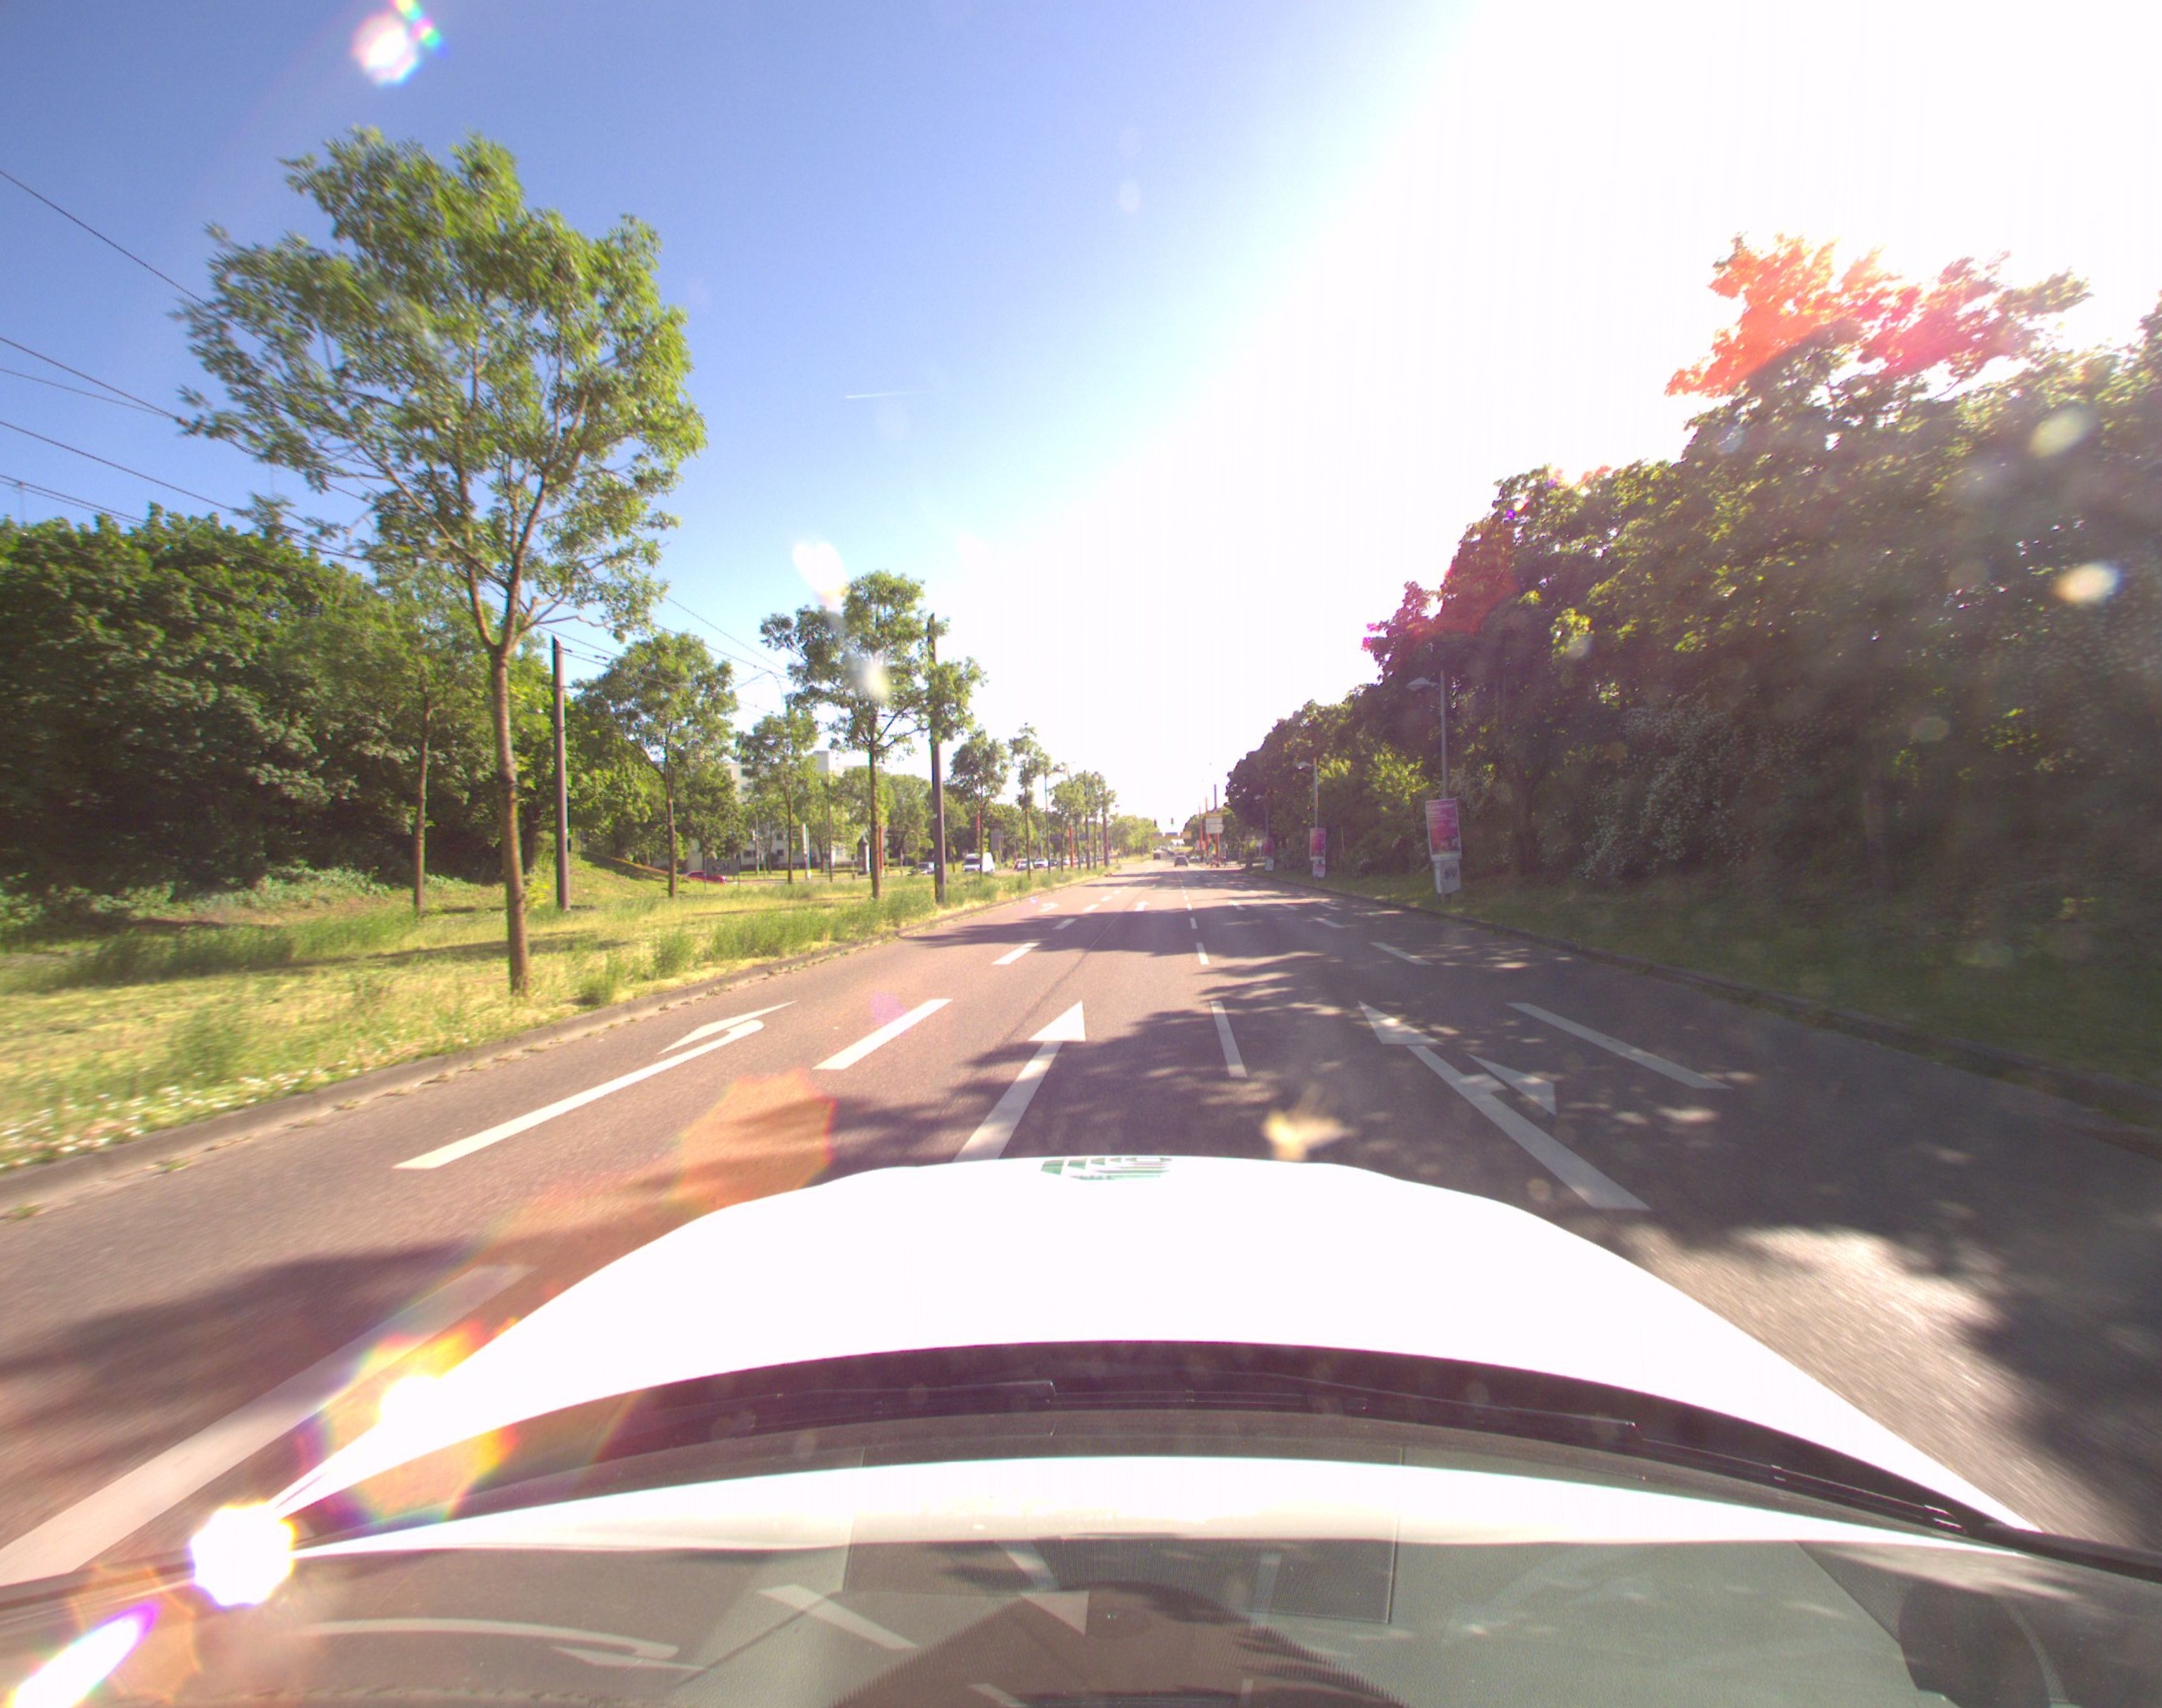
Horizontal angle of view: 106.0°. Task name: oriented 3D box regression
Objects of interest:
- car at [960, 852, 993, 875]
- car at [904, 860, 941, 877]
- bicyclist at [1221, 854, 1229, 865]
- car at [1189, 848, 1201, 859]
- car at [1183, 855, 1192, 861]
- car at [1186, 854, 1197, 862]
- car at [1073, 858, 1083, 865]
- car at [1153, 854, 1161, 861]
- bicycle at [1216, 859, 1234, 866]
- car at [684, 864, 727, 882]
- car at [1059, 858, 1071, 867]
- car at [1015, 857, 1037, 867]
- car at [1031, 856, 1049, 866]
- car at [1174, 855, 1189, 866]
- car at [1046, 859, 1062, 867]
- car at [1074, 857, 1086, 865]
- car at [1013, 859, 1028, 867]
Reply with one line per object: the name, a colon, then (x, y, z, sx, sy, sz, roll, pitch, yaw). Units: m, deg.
car: (-11.304, 1.053, 88.861, 2.029, 2.369, 6.891, 0, -1, 6)
car: (-15.308, 1.401, 78.944, 1.983, 1.584, 5.281, 0, 0, 6)
bicyclist: (18.098, 0.724, 102.398, 0.738, 1.341, 0.706, 0, -1, -6)
car: (20.105, -0.059, 143.396, 1.983, 1.887, 4.007, -2, 0, 6)
car: (25.184, 0.944, 192.193, 1.983, 1.540, 4.007, -1, 0, 6)
car: (21.808, 0.890, 161.037, 1.983, 1.541, 4.007, 0, -1, 6)
car: (-0.595, 1.557, 178.690, 1.695, 1.423, 4.650, -2, -1, 6)
car: (19.759, 0.915, 212.182, 1.985, 2.014, 4.004, 0, -1, 4)
bicycle: (18.097, 1.091, 102.404, 2.158, 0.878, 0.559, 0, -1, -6)
car: (-41.642, 2.124, 90.466, 4.282, 1.901, 1.983, 0, -1, -25)
car: (-3.098, 1.675, 159.065, 1.753, 1.608, 3.765, -2, -1, 7)
car: (-8.008, 1.164, 118.678, 1.886, 1.398, 4.560, -1, -1, 14)
car: (-6.557, 1.154, 131.295, 1.883, 1.621, 4.668, -1, -1, 9)
car: (13.720, 0.871, 111.315, 1.983, 1.496, 4.007, -1, 0, 6)
car: (-4.809, 1.587, 146.730, 1.983, 1.409, 5.000, 0, 0, 7)
car: (-0.164, 1.593, 187.327, 1.982, 1.594, 4.473, -2, 0, 8)
car: (-9.660, 1.395, 130.964, 1.649, 1.297, 4.183, 0, 0, 6)
